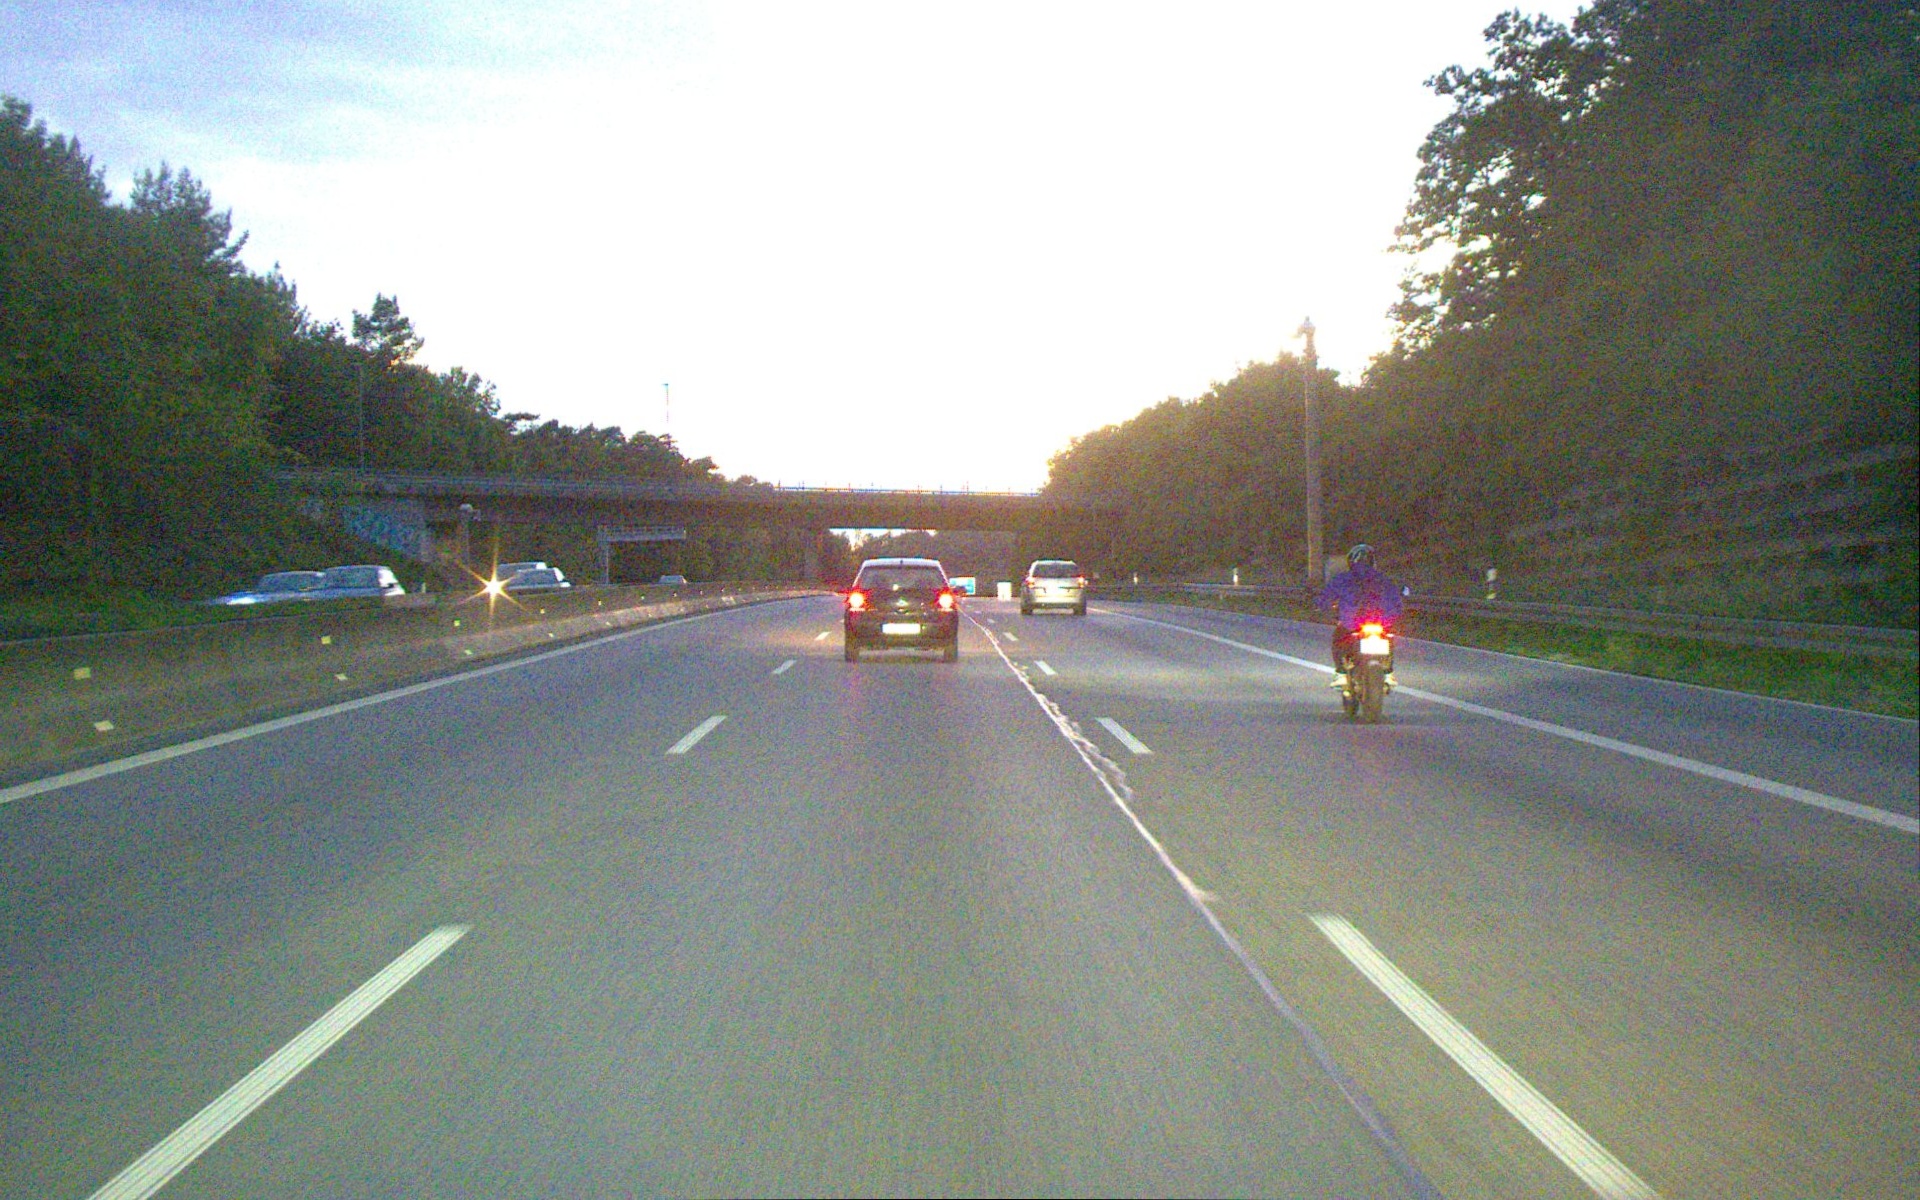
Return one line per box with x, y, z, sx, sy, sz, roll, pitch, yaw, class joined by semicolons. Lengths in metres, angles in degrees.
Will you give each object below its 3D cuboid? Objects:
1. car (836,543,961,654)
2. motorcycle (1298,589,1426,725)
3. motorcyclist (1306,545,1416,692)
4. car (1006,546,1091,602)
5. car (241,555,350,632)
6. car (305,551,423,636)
-0.873;-0.044;49.690;1.704;1.504;4.232;1;0;-1;car
3.582;0.484;30.846;0.829;1.130;2.476;0;1;-1;motorcycle
3.582;0.151;30.787;0.829;1.287;1.190;0;1;-1;motorcyclist
2.418;-0.729;95.051;1.865;1.489;4.399;1;0;-5;car
-16.090;-0.185;83.448;1.916;1.759;5.009;-1;1;-3;car
-12.880;-0.175;74.534;1.916;1.759;5.009;-1;1;-3;car
